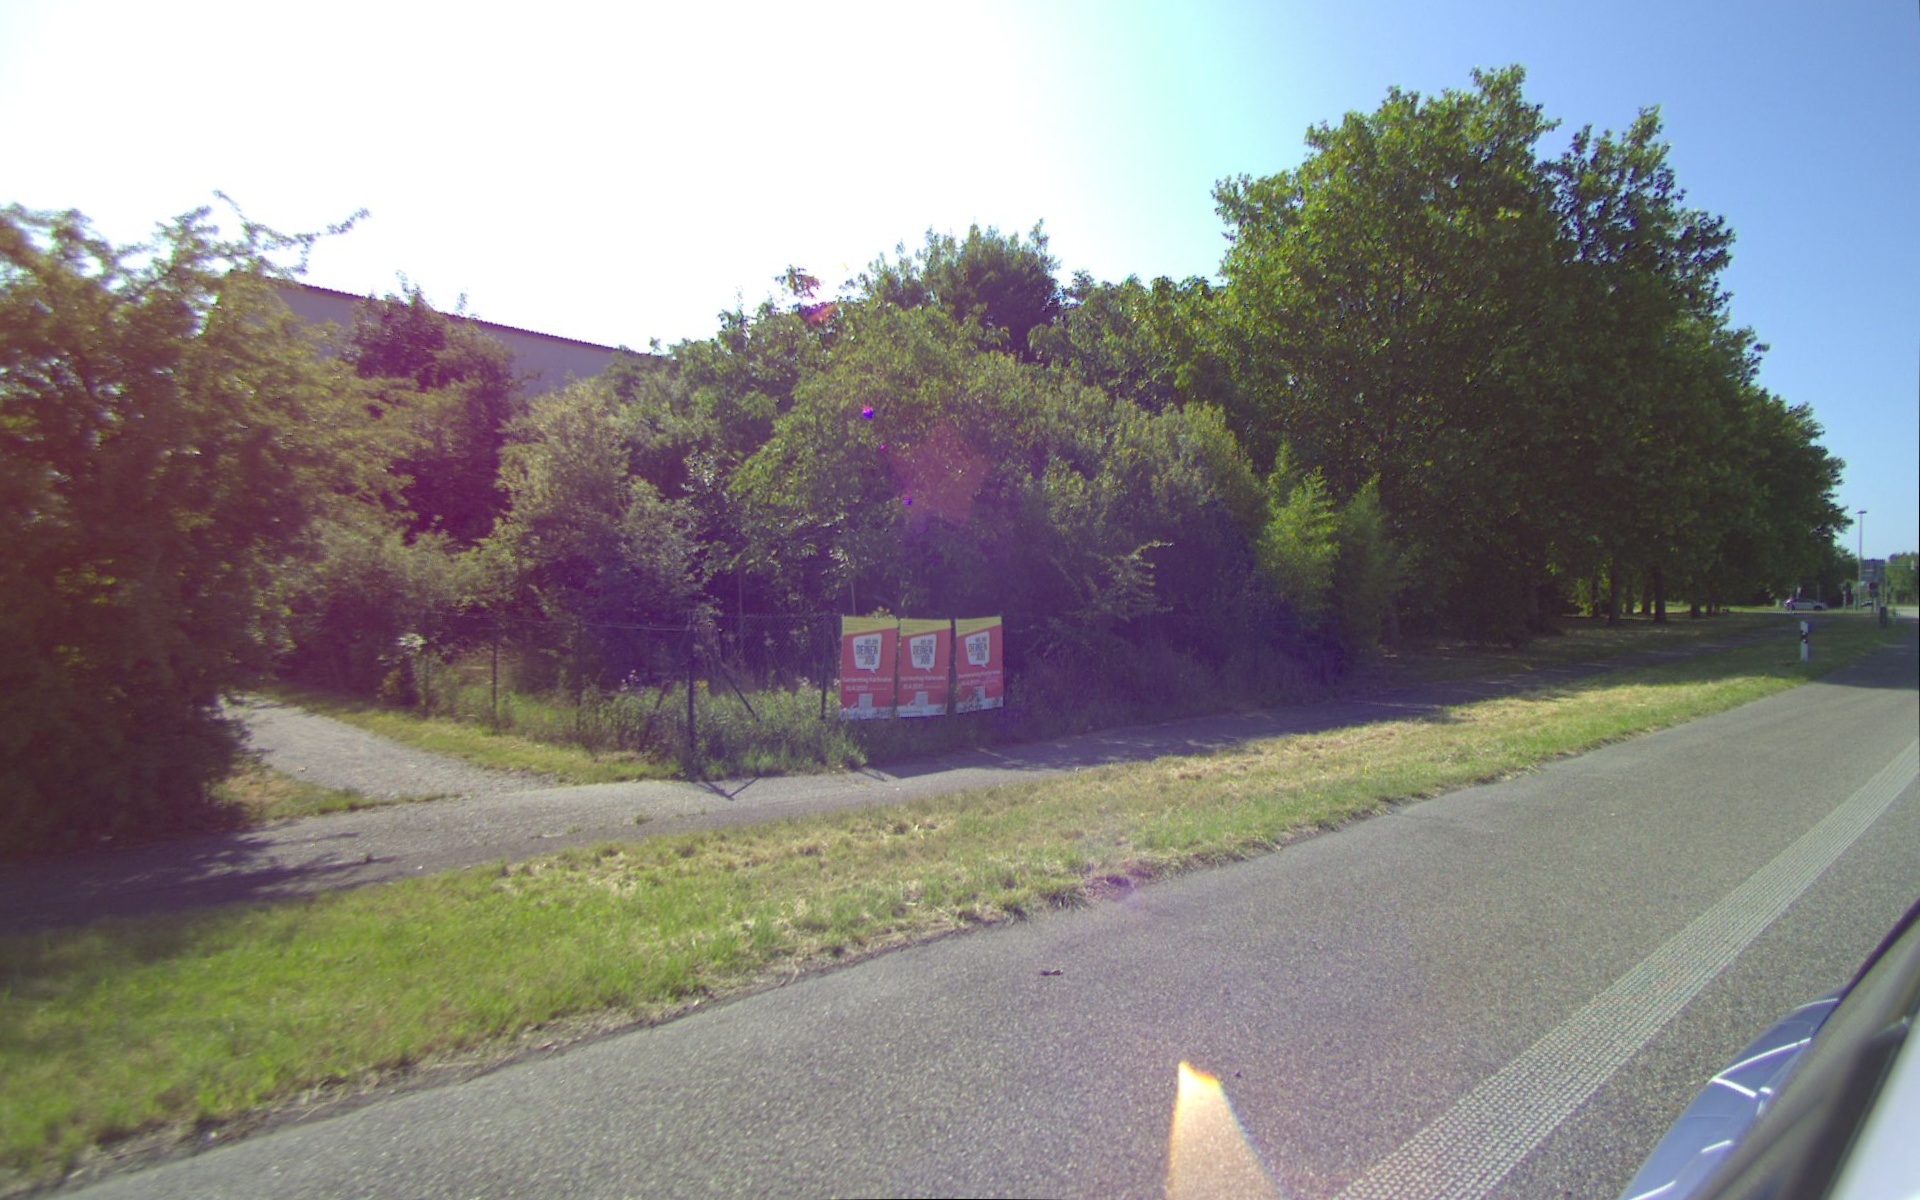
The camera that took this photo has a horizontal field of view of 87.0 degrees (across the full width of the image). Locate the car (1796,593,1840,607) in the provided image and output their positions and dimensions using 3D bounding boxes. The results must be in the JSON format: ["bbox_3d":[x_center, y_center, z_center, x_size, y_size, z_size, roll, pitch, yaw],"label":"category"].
[{"bbox_3d":[102.975,-0.052,121.496,4.049,1.583,1.716,2,1,42],"label":"car"}]
